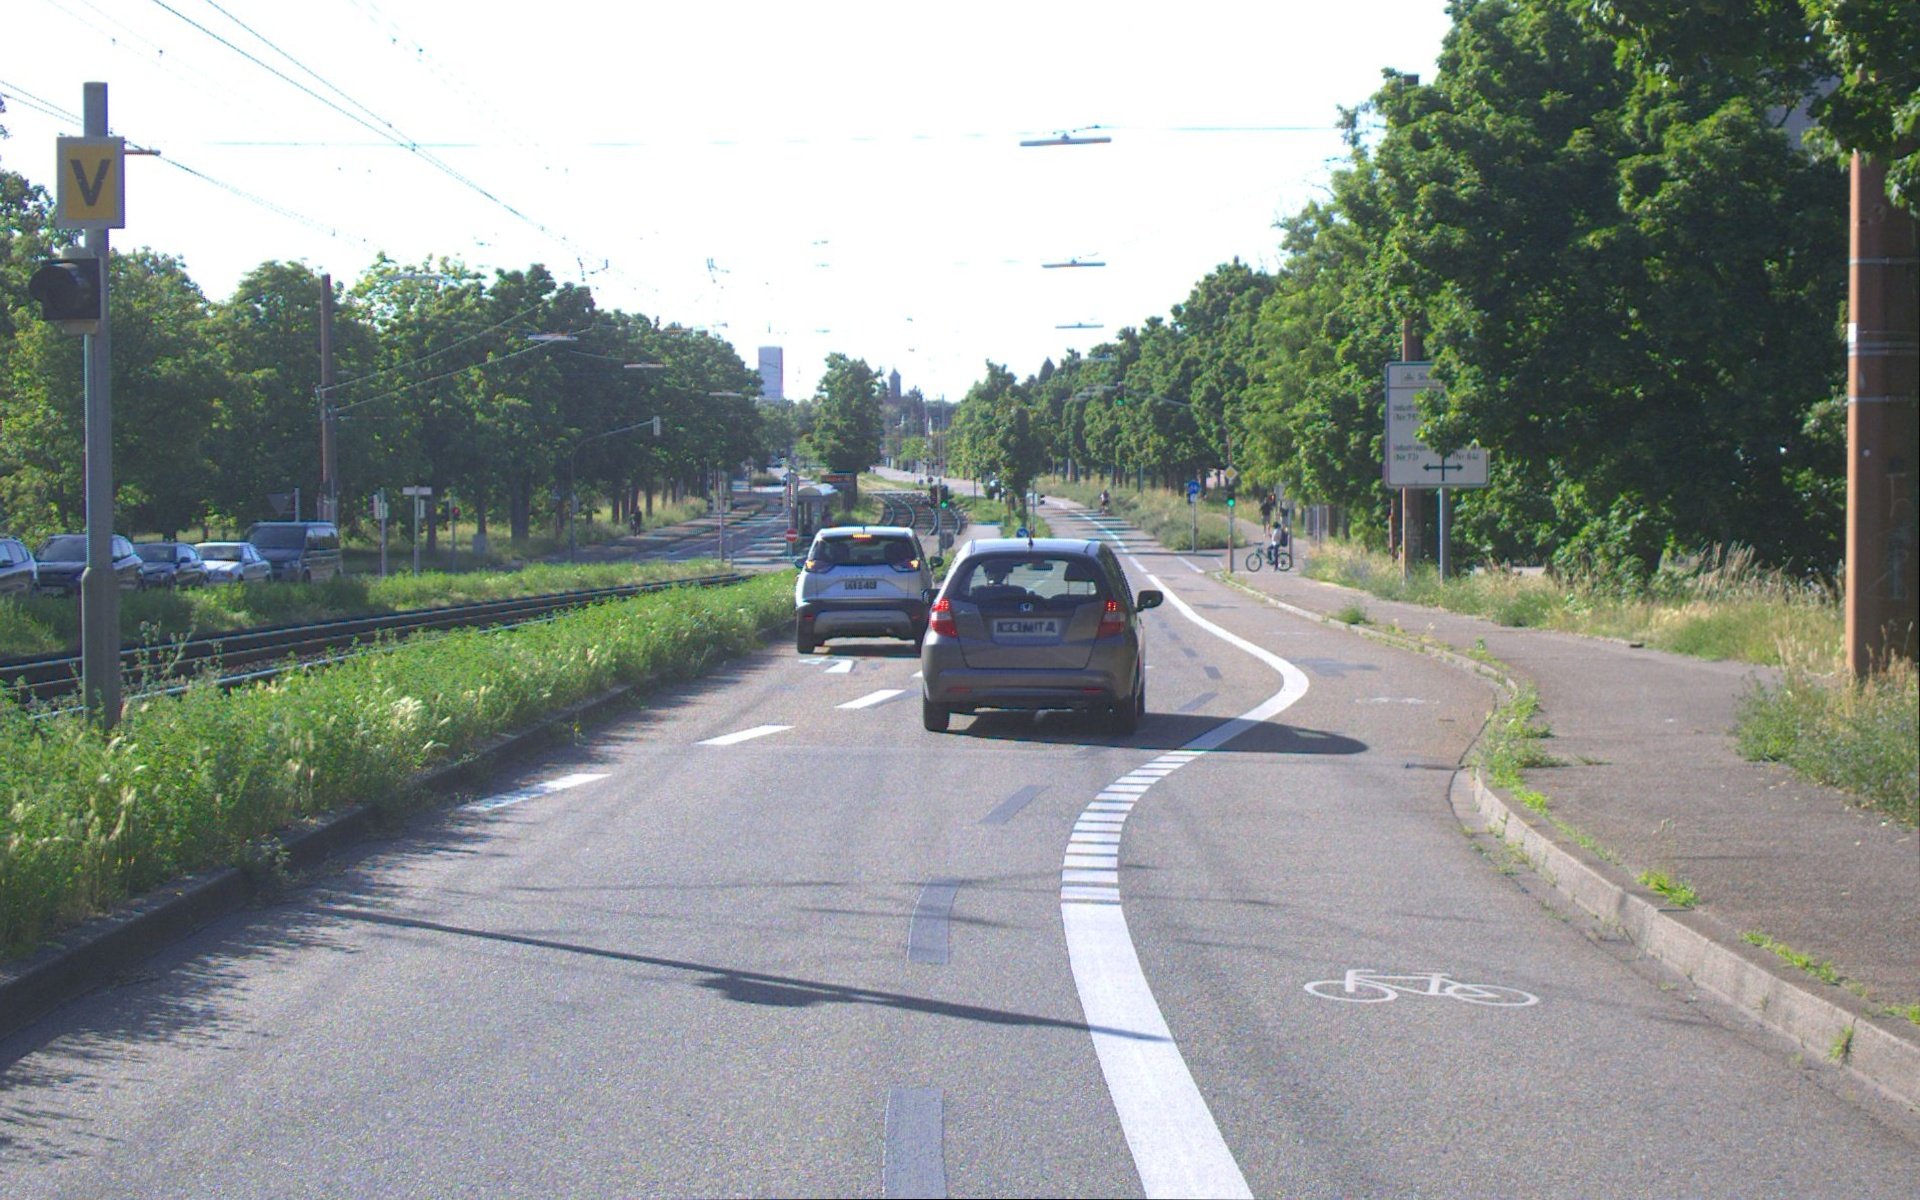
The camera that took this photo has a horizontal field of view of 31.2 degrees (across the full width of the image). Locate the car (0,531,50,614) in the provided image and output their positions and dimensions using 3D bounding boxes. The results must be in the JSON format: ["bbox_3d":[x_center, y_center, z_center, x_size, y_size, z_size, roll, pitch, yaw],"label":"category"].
[{"bbox_3d":[-18.382,-0.537,63.882,1.735,1.489,4.328,1,1,0],"label":"car"}]

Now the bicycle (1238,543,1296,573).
[{"bbox_3d":[10.891,-1.488,122.023,1.921,0.994,0.764,-2,1,14],"label":"bicycle"}]

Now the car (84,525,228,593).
[{"bbox_3d":[-17.869,-0.931,76.607,1.994,1.432,4.414,0,2,3],"label":"car"}]

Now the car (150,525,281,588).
[{"bbox_3d":[-17.869,-1.066,82.691,1.928,1.432,4.694,0,2,3],"label":"car"}]

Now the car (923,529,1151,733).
[{"bbox_3d":[0.625,0.193,27.967,1.707,1.503,4.000,1,1,1],"label":"car"}]

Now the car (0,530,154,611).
[{"bbox_3d":[-18.143,-0.637,70.746,1.993,1.569,4.435,0,2,1],"label":"car"}]

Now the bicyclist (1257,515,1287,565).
[{"bbox_3d":[11.078,-2.133,121.964,0.910,1.739,0.764,-1,1,14],"label":"bicyclist"}]

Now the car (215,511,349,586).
[{"bbox_3d":[-17.525,-1.357,89.048,2.197,1.885,4.790,0,1,4],"label":"car"}]

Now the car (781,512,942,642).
[{"bbox_3d":[-1.224,-0.334,44.514,1.851,1.601,4.255,0,1,2],"label":"car"}]
